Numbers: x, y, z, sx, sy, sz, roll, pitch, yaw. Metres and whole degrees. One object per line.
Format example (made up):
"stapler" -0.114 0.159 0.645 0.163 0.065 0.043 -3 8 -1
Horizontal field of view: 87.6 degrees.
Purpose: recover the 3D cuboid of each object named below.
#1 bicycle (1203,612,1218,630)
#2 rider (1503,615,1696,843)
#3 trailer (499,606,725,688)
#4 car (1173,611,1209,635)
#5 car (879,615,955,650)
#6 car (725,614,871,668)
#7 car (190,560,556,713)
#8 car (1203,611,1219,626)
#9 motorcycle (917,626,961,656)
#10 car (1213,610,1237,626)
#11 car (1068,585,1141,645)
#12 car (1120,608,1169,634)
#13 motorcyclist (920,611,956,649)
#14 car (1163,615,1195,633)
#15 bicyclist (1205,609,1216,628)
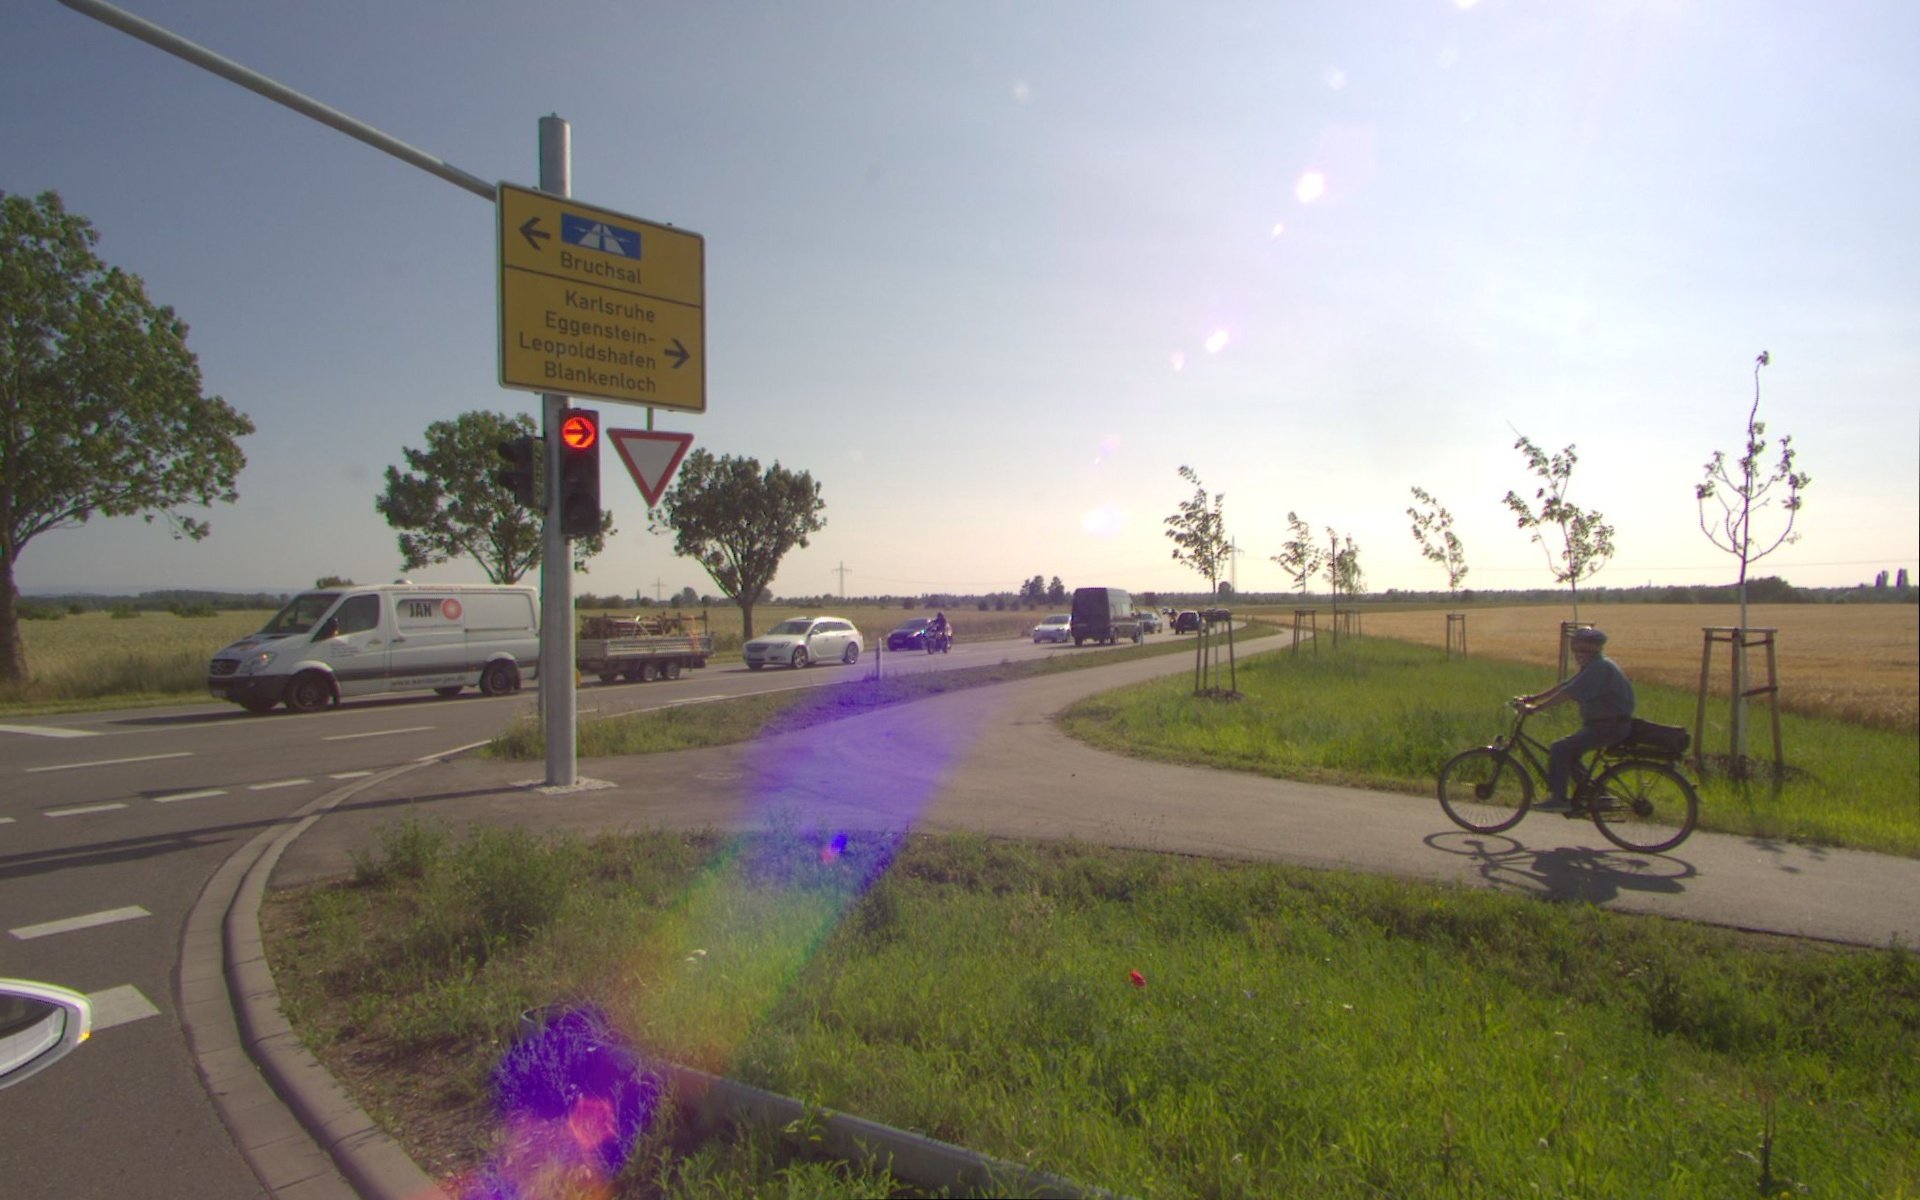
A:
"bicycle" 20.674 1.714 82.562 0.720 1.415 2.490 -1 0 25
"rider" 5.017 0.959 7.897 0.973 1.665 0.820 0 1 -17
"trailer" -8.304 1.053 24.468 1.925 1.776 5.254 -1 -1 30
"car" 15.367 1.493 66.501 1.700 1.476 3.727 0 1 24
"car" -1.968 1.480 46.846 1.967 1.521 3.988 0 -1 25
"car" -4.892 1.274 30.960 1.969 1.529 4.868 -2 -3 27
"car" -11.087 0.644 19.560 1.970 2.525 5.949 -2 -1 30
"car" 30.078 2.180 120.032 1.731 1.689 3.966 -1 -2 14
"motorcycle" -0.796 1.588 39.327 0.836 1.133 2.140 0 -2 26
"car" 27.610 1.830 104.216 1.888 1.539 4.677 1 0 21
"car" 6.878 0.682 47.129 2.000 2.656 5.733 0 0 23
"car" 12.761 1.498 68.964 1.969 1.712 4.867 -2 -2 28
"motorcyclist" -0.848 1.182 39.215 1.013 1.479 1.067 0 -1 27
"car" 18.693 2.027 85.311 1.665 1.517 3.986 0 -1 27
"bicyclist" 20.585 1.549 82.345 0.745 1.508 0.808 -1 -2 25
